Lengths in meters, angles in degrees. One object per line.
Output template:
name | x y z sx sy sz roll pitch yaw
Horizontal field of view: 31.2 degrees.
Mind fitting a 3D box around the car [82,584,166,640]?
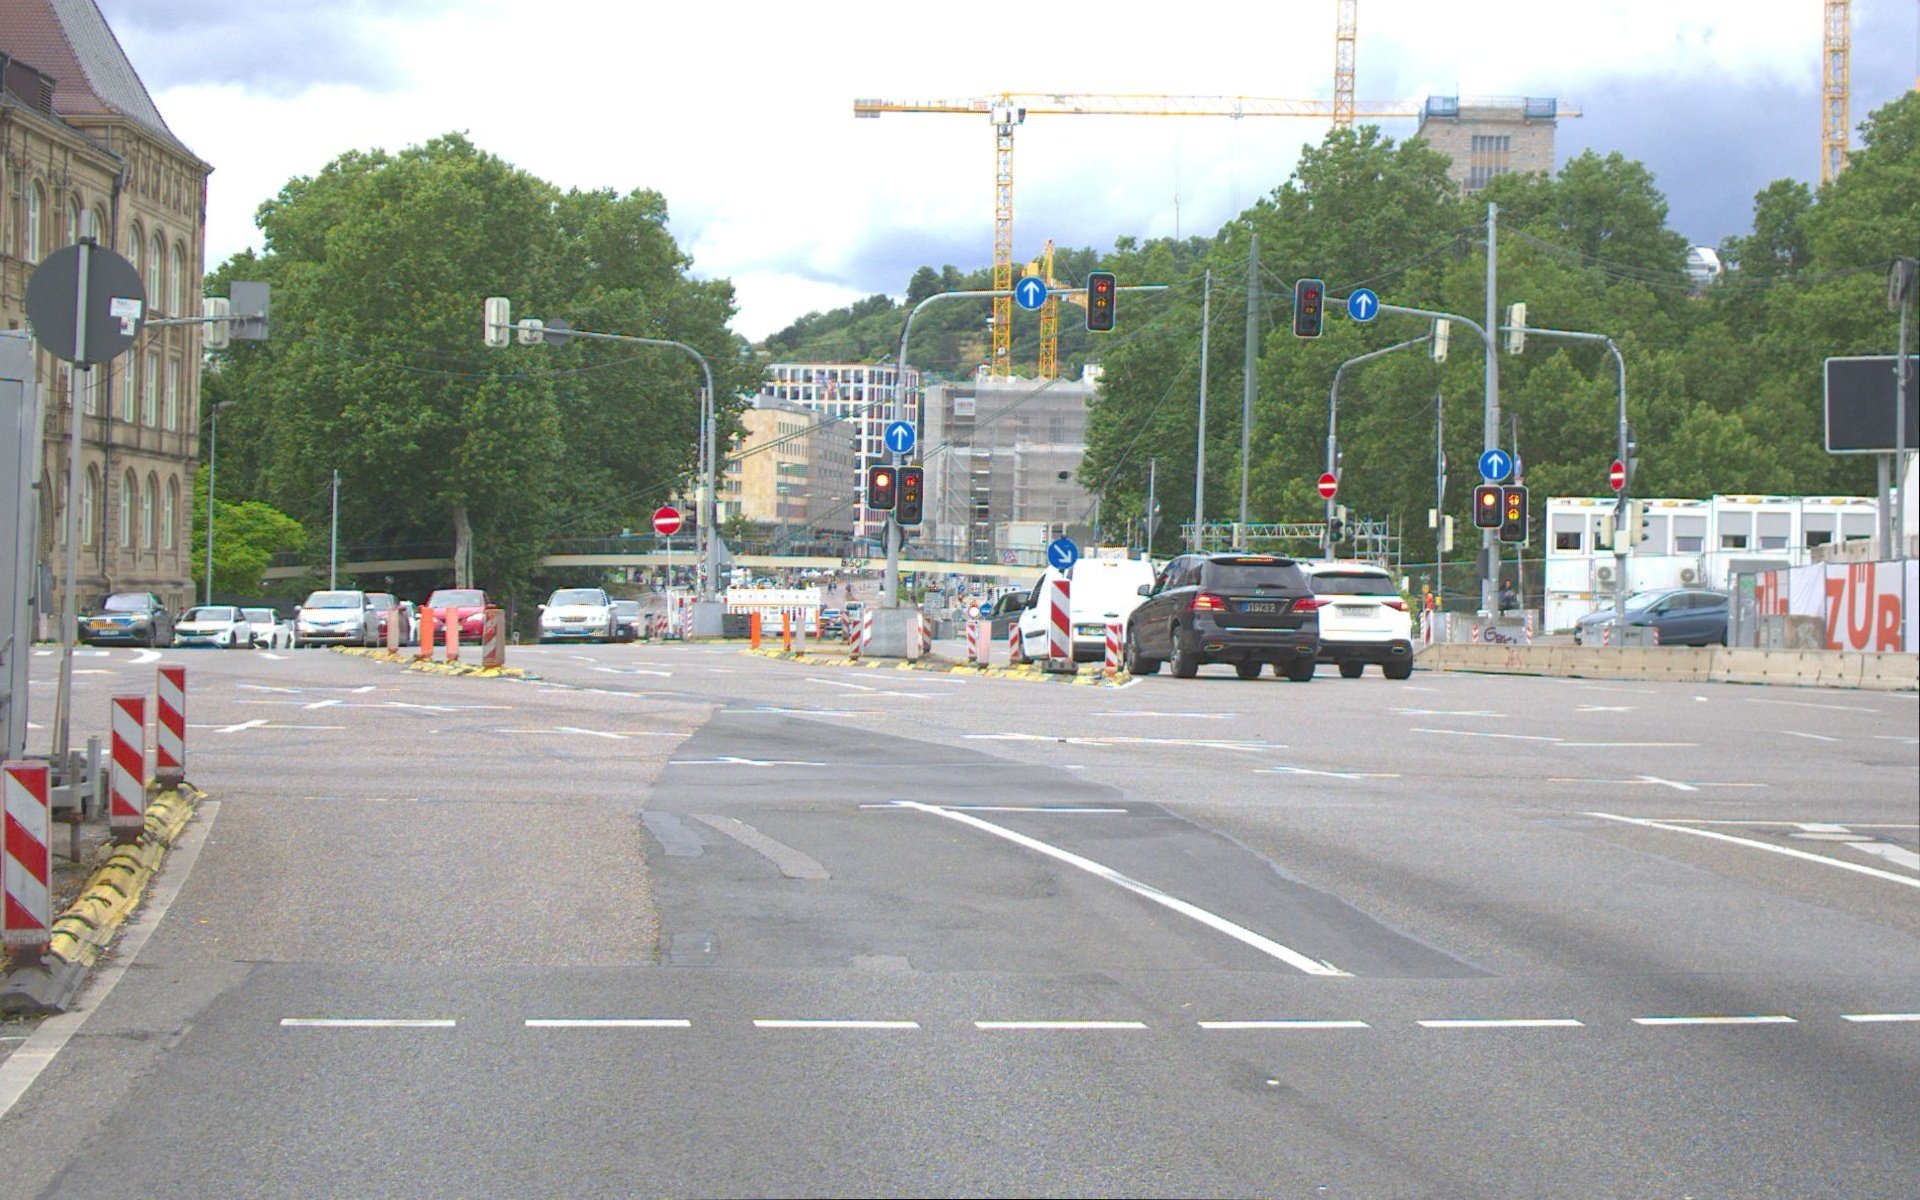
car | -21.958 0.310 90.381 1.675 1.393 3.684 1 1 -7

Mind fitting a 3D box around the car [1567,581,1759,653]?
car | 16.351 0.391 79.963 3.986 1.619 1.823 1 0 -19

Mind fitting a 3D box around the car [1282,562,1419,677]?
car | 5.990 0.271 53.056 1.676 1.696 3.374 1 1 -1

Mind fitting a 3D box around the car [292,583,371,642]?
car | -15.639 0.293 85.639 1.675 1.393 3.684 1 1 -7

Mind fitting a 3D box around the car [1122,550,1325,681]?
car | 3.664 0.188 48.490 1.831 1.740 4.257 1 1 -10

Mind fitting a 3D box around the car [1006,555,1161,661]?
car | 1.954 0.104 55.536 1.816 1.619 4.001 1 1 -8

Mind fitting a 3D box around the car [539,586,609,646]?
car | -9.555 0.383 85.049 1.675 1.393 3.684 1 1 -7

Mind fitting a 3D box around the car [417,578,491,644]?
car | -12.445 0.255 84.729 1.675 1.575 3.684 1 1 -7

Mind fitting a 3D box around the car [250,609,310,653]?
car | -22.900 1.037 115.826 1.675 1.393 3.684 1 1 -7

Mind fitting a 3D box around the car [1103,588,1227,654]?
car | 4.508 0.455 75.998 1.675 1.393 3.087 1 1 -19

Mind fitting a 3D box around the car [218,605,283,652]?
car | -22.383 0.893 108.581 1.675 1.393 3.684 1 0 -7

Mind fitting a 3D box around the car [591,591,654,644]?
car | -9.506 0.480 96.710 1.675 1.393 3.684 1 1 -7

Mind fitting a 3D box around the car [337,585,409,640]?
car | -15.659 0.332 91.801 1.675 1.393 3.684 1 1 -7

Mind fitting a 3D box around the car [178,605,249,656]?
car | -21.962 0.892 101.267 1.675 1.393 3.684 1 1 -7
